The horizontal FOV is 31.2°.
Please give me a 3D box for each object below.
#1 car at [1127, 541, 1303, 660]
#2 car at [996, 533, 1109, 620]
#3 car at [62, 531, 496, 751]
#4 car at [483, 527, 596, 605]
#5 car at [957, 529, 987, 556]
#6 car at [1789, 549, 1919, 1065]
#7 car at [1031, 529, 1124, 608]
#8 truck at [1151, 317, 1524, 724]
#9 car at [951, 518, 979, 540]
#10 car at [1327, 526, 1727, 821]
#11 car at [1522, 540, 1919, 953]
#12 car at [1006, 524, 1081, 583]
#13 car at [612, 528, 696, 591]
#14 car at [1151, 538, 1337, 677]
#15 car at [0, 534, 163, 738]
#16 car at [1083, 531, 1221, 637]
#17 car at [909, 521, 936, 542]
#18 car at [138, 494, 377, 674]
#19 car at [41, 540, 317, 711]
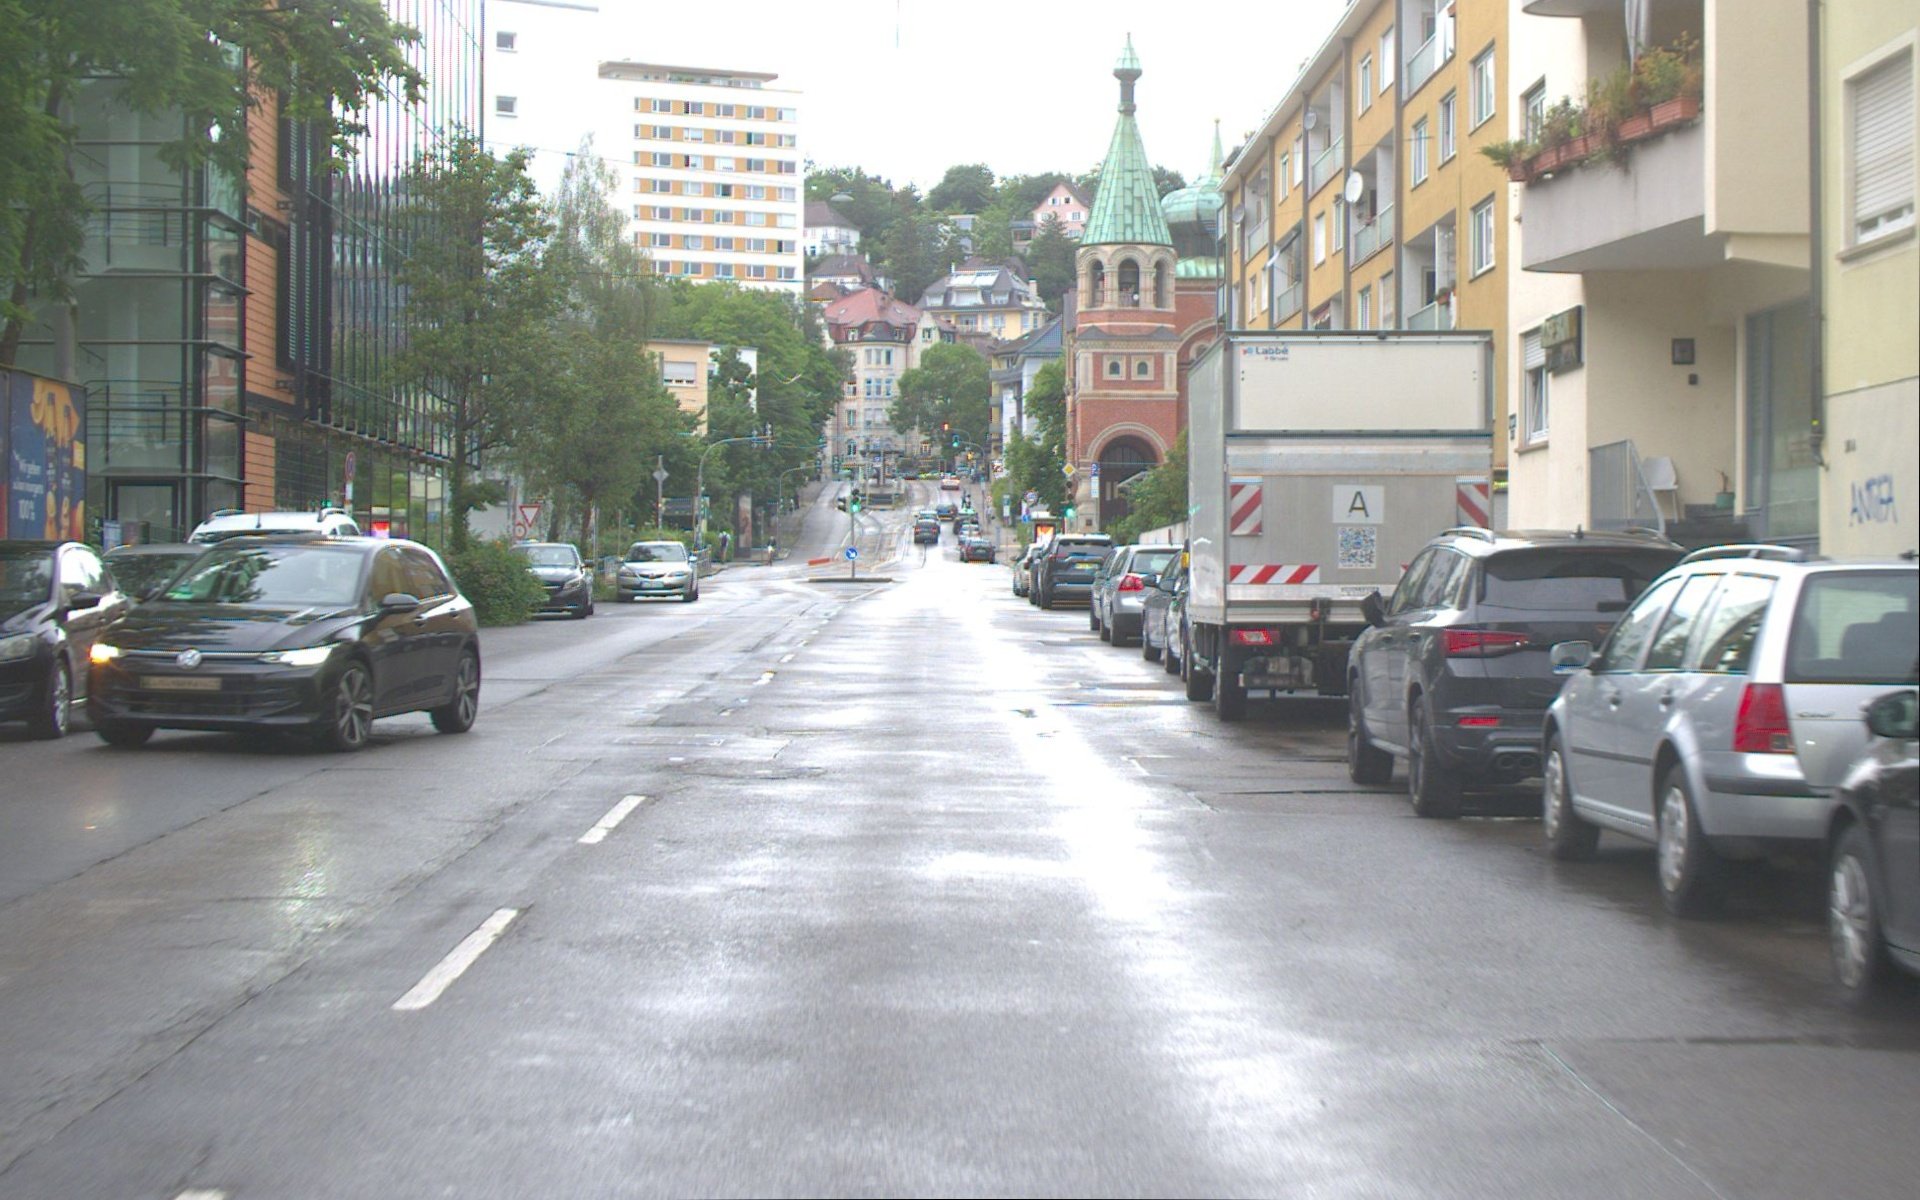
[{"bbox_3d":[3.158,-0.002,43.175,1.663,1.416,3.922,0,0,-4],"label":"car"},{"bbox_3d":[1.516,-0.412,57.494,1.663,1.395,3.922,0,1,-2],"label":"car"},{"bbox_3d":[-4.710,0.220,24.456,1.805,1.411,4.383,0,1,6],"label":"car"},{"bbox_3d":[-8.062,-0.663,66.232,1.803,1.445,4.659,0,1,-3],"label":"car"},{"bbox_3d":[0.752,-3.520,210.788,1.732,1.648,4.000,0,1,2],"label":"car"},{"bbox_3d":[3.554,0.615,9.583,1.577,1.465,3.502,0,1,-1],"label":"car"},{"bbox_3d":[2.568,-0.717,76.010,1.817,1.647,4.076,2,1,-1],"label":"car"},{"bbox_3d":[3.138,-0.683,30.311,2.469,3.161,7.036,0,1,0],"label":"truck"},{"bbox_3d":[0.336,-5.087,247.284,1.892,1.505,4.000,2,1,-1],"label":"car"},{"bbox_3d":[3.281,0.353,20.623,1.663,1.568,4.098,0,1,-1],"label":"car"},{"bbox_3d":[3.611,0.509,14.758,1.663,1.494,4.098,0,1,-1],"label":"car"},{"bbox_3d":[2.241,-1.285,93.372,1.817,1.517,4.076,2,1,-1],"label":"car"},{"bbox_3d":[-7.229,-0.964,81.493,1.709,1.445,4.295,0,1,-2],"label":"car"},{"bbox_3d":[3.091,0.043,38.096,1.663,1.416,4.043,0,1,-1],"label":"car"},{"bbox_3d":[-7.163,0.227,25.469,1.682,1.394,3.911,-1,1,-2],"label":"car"},{"bbox_3d":[2.778,-0.256,50.421,1.663,1.497,3.922,0,1,-2],"label":"car"},{"bbox_3d":[-2.714,-4.966,249.664,1.908,1.505,4.000,1,1,-1],"label":"car"},{"bbox_3d":[-7.424,-0.191,36.703,1.723,1.794,4.344,-1,1,-1],"label":"car"},{"bbox_3d":[-7.174,0.189,31.955,1.682,1.457,4.277,-1,1,-2],"label":"car"}]
